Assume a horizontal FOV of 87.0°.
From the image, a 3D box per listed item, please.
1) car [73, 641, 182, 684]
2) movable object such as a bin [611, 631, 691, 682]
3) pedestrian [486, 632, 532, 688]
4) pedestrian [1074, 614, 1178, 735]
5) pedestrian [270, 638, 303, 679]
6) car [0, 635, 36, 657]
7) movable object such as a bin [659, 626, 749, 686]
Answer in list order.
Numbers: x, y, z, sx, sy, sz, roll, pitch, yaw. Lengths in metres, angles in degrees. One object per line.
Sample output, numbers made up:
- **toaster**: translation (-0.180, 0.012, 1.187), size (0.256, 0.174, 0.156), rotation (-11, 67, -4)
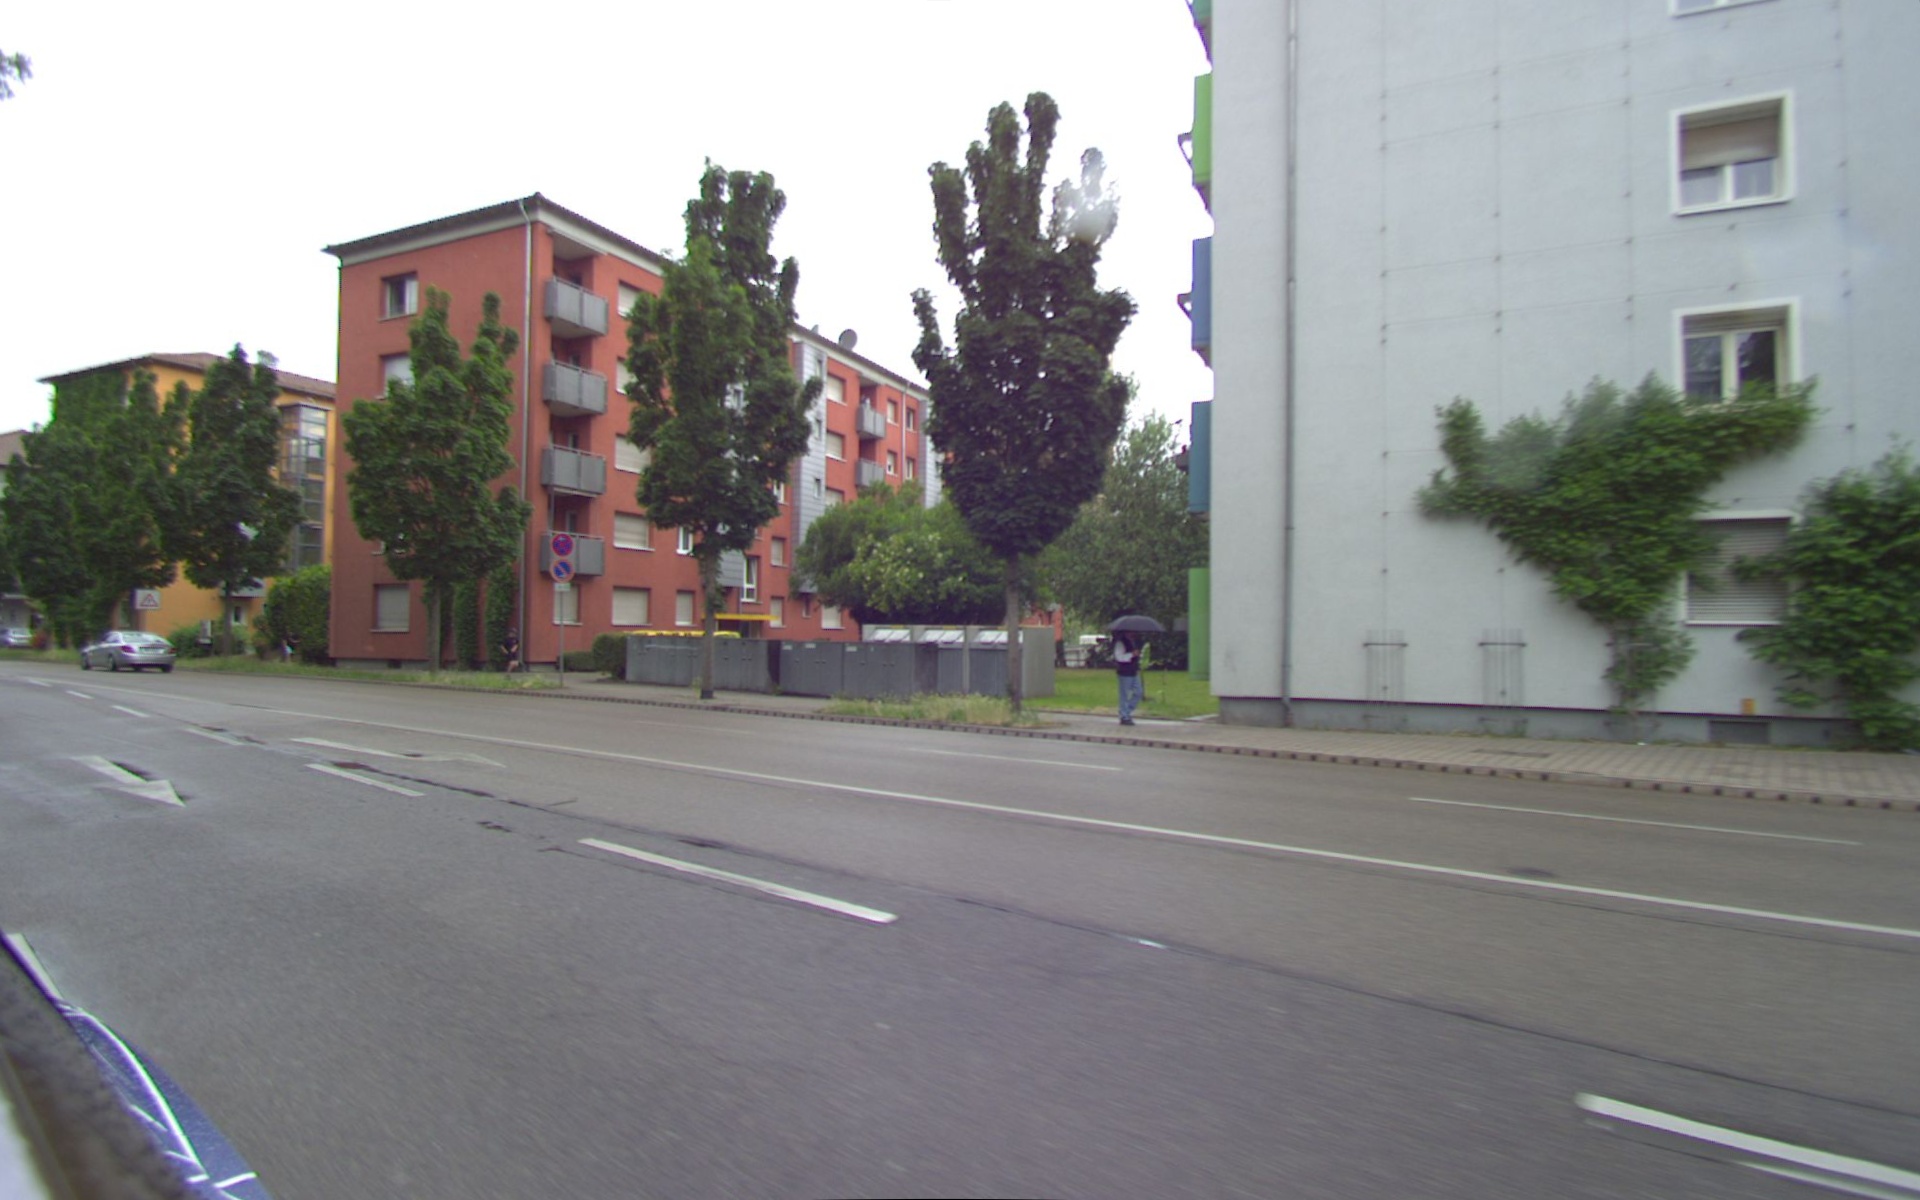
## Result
- **car**: translation (-29.537, 2.198, 35.886), size (4.618, 1.401, 1.857), rotation (-2, -5, 36)
- **movable object such as a bin**: translation (-8.492, 1.536, 27.827), size (1.961, 1.341, 1.147), rotation (-2, -3, 35)
- **pedestrian**: translation (-12.744, 1.689, 28.602), size (1.066, 1.529, 0.687), rotation (-2, -3, 32)
- **pedestrian**: translation (2.639, 1.159, 16.119), size (1.261, 1.818, 1.124), rotation (-2, -3, 37)
- **pedestrian**: translation (-24.370, 2.114, 36.623), size (0.833, 1.460, 0.666), rotation (-2, -3, 32)
- **car**: translation (-66.397, 3.188, 70.555), size (4.212, 1.537, 1.717), rotation (-1, -3, 30)
- **movable object such as a bin**: translation (-6.721, 1.461, 26.570), size (2.082, 1.496, 1.205), rotation (-2, -3, 35)
